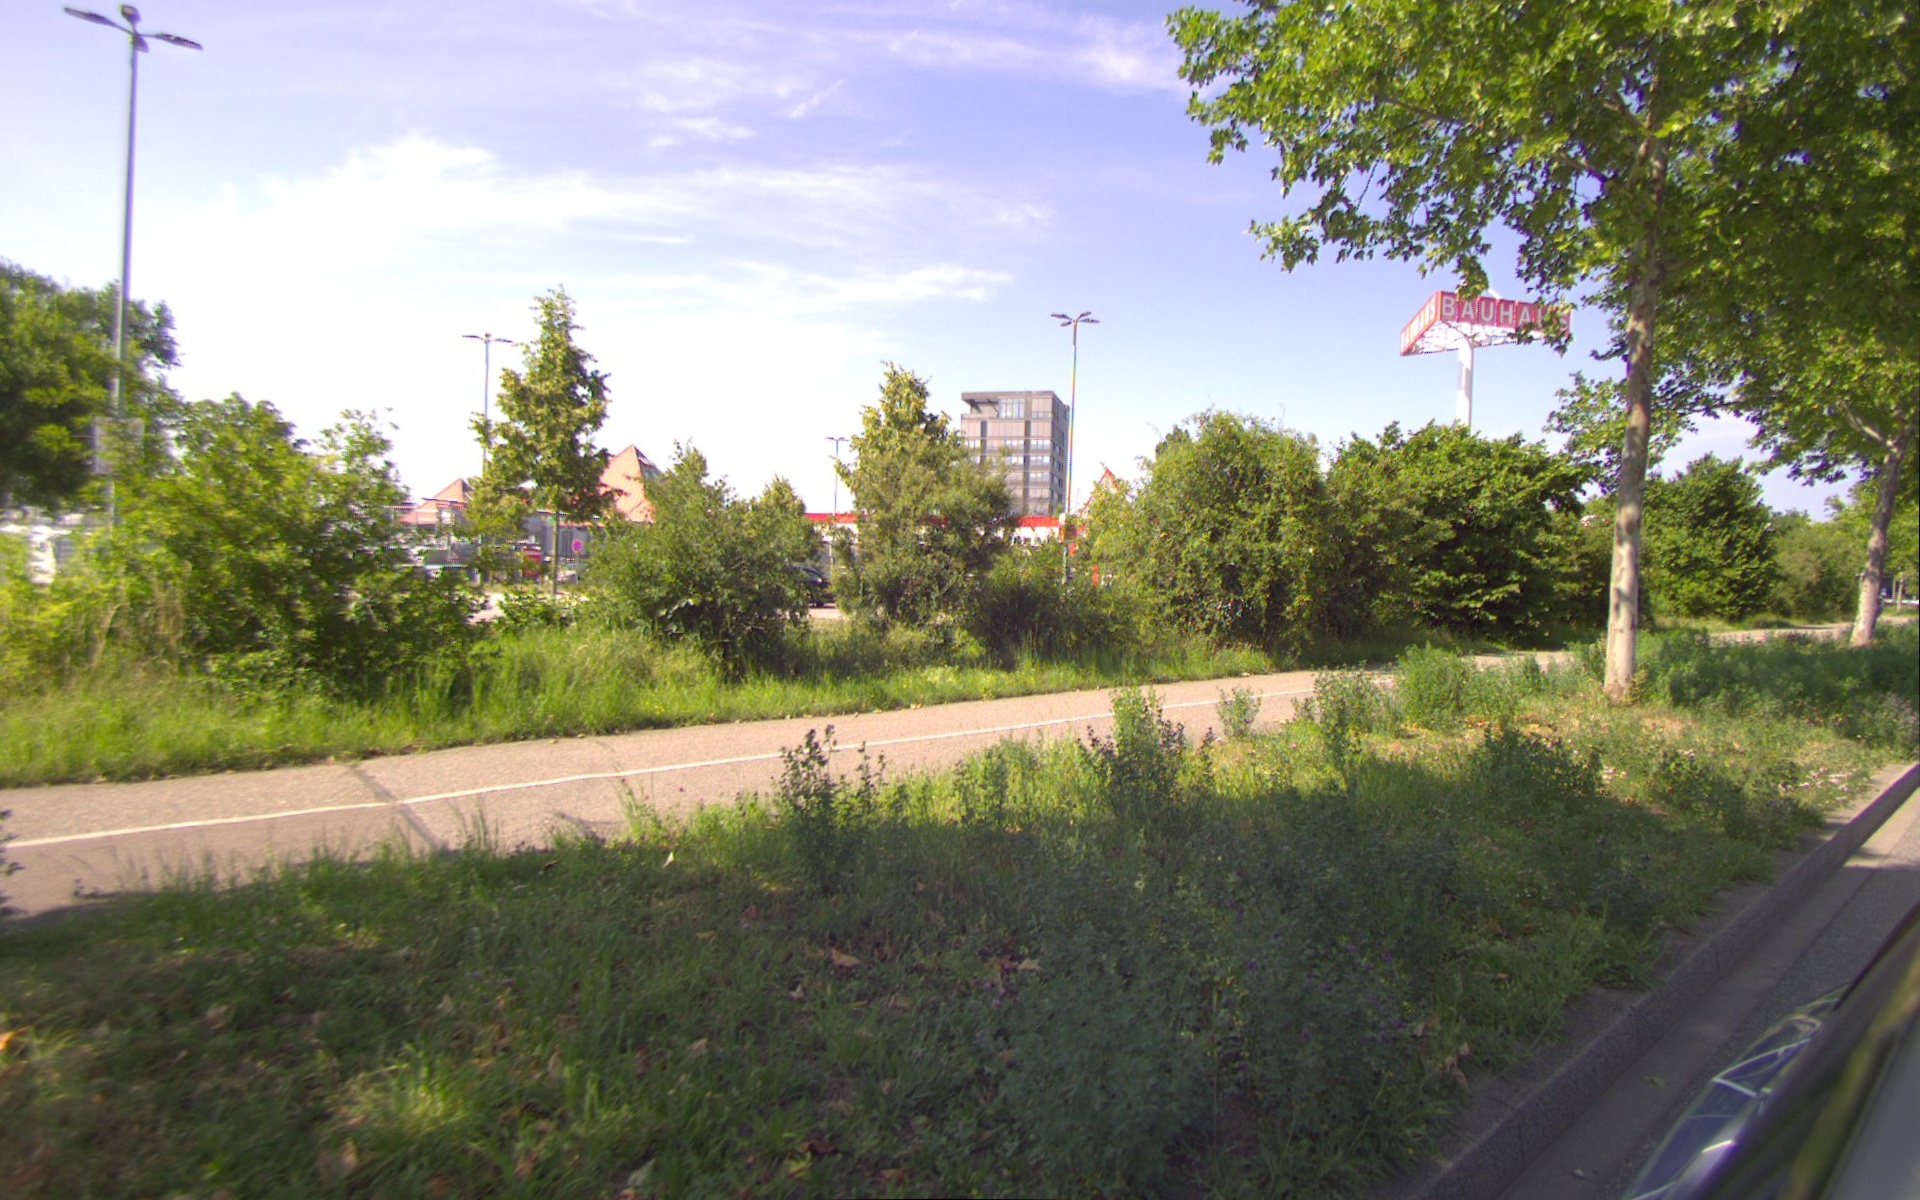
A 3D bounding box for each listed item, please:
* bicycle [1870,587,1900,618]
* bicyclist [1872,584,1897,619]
[{"bbox_3d":[40.461,0.111,44.262,2.058,1.315,0.724,-1,1,-40],"label":"bicycle"},{"bbox_3d":[40.453,0.052,44.279,0.992,1.495,0.705,-1,1,-40],"label":"bicyclist"}]
